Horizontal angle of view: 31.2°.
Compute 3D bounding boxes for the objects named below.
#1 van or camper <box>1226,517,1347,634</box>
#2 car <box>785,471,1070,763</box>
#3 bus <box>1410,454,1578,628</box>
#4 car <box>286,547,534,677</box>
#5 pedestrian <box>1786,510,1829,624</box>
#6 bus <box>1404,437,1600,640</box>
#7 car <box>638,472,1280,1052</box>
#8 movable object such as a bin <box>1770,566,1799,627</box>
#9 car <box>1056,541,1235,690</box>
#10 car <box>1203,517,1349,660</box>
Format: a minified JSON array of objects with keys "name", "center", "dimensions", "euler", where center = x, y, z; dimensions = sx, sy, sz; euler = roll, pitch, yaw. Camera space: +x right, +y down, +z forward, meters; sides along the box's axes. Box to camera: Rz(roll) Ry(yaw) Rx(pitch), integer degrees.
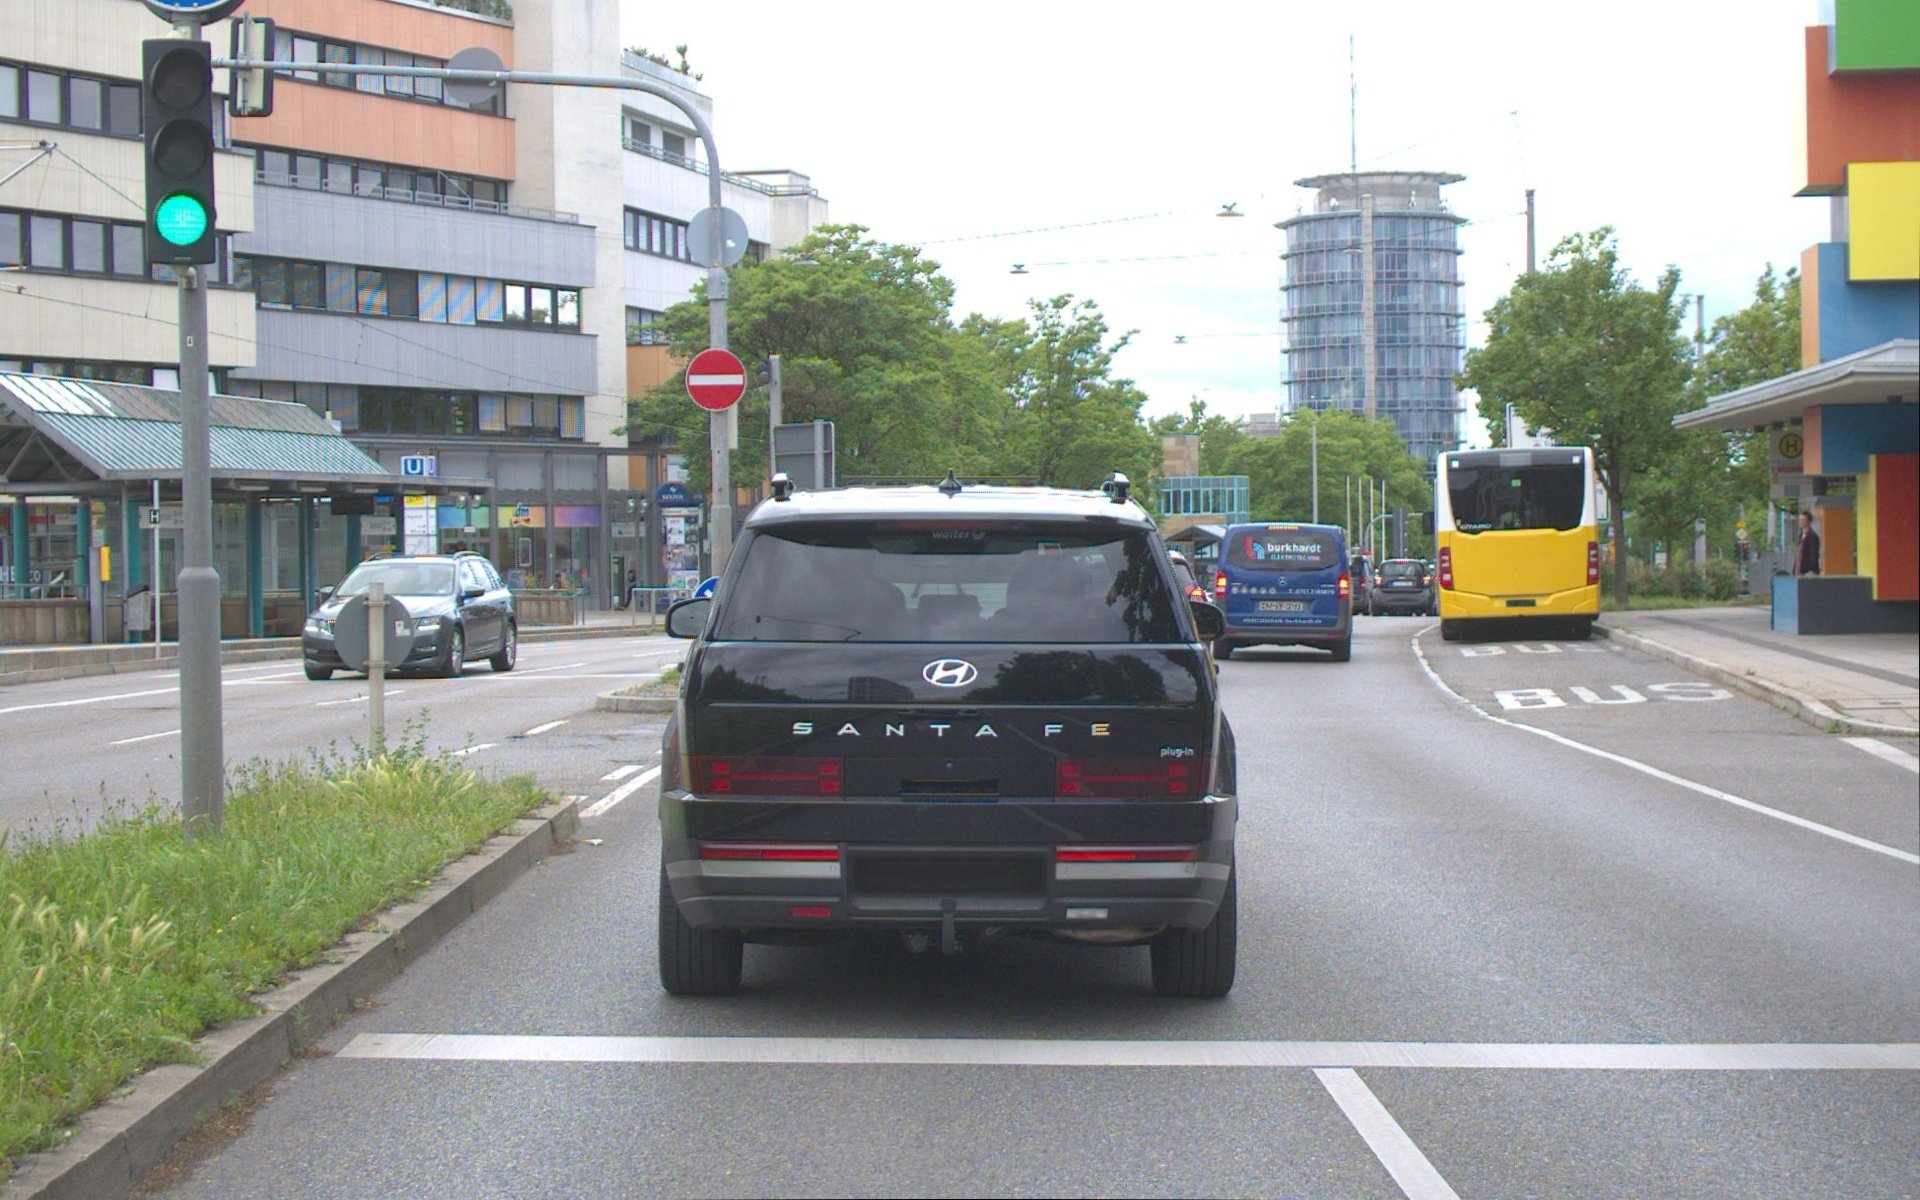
[{"name":"van or camper","center":[5.752,-0.477,61.034],"dimensions":[1.994,1.911,4.409],"euler":[0,2,4]},{"name":"car","center":[-0.337,0.047,25.727],"dimensions":[1.902,1.962,4.637],"euler":[1,2,-3]},{"name":"bus","center":[10.517,-1.138,68.004],"dimensions":[2.953,3.101,9.973],"euler":[-2,1,8]},{"name":"car","center":[-6.492,0.100,41.082],"dimensions":[1.798,1.450,4.611],"euler":[-1,1,6]},{"name":"pedestrian","center":[12.583,-0.492,51.063],"dimensions":[0.524,1.667,0.733],"euler":[0,1,7]},{"name":"bus","center":[9.185,-1.018,58.587],"dimensions":[2.967,3.106,9.241],"euler":[-2,1,8]},{"name":"car","center":[-0.203,0.423,12.505],"dimensions":[1.902,1.725,4.447],"euler":[1,2,-5]},{"name":"movable object such as a bin","center":[12.113,-0.052,50.512],"dimensions":[0.356,0.894,0.462],"euler":[0,1,7]},{"name":"car","center":[2.101,0.129,40.113],"dimensions":[1.902,1.537,4.710],"euler":[1,2,1]},{"name":"car","center":[4.396,-0.212,48.055],"dimensions":[1.902,1.852,4.709],"euler":[1,2,5]}]
